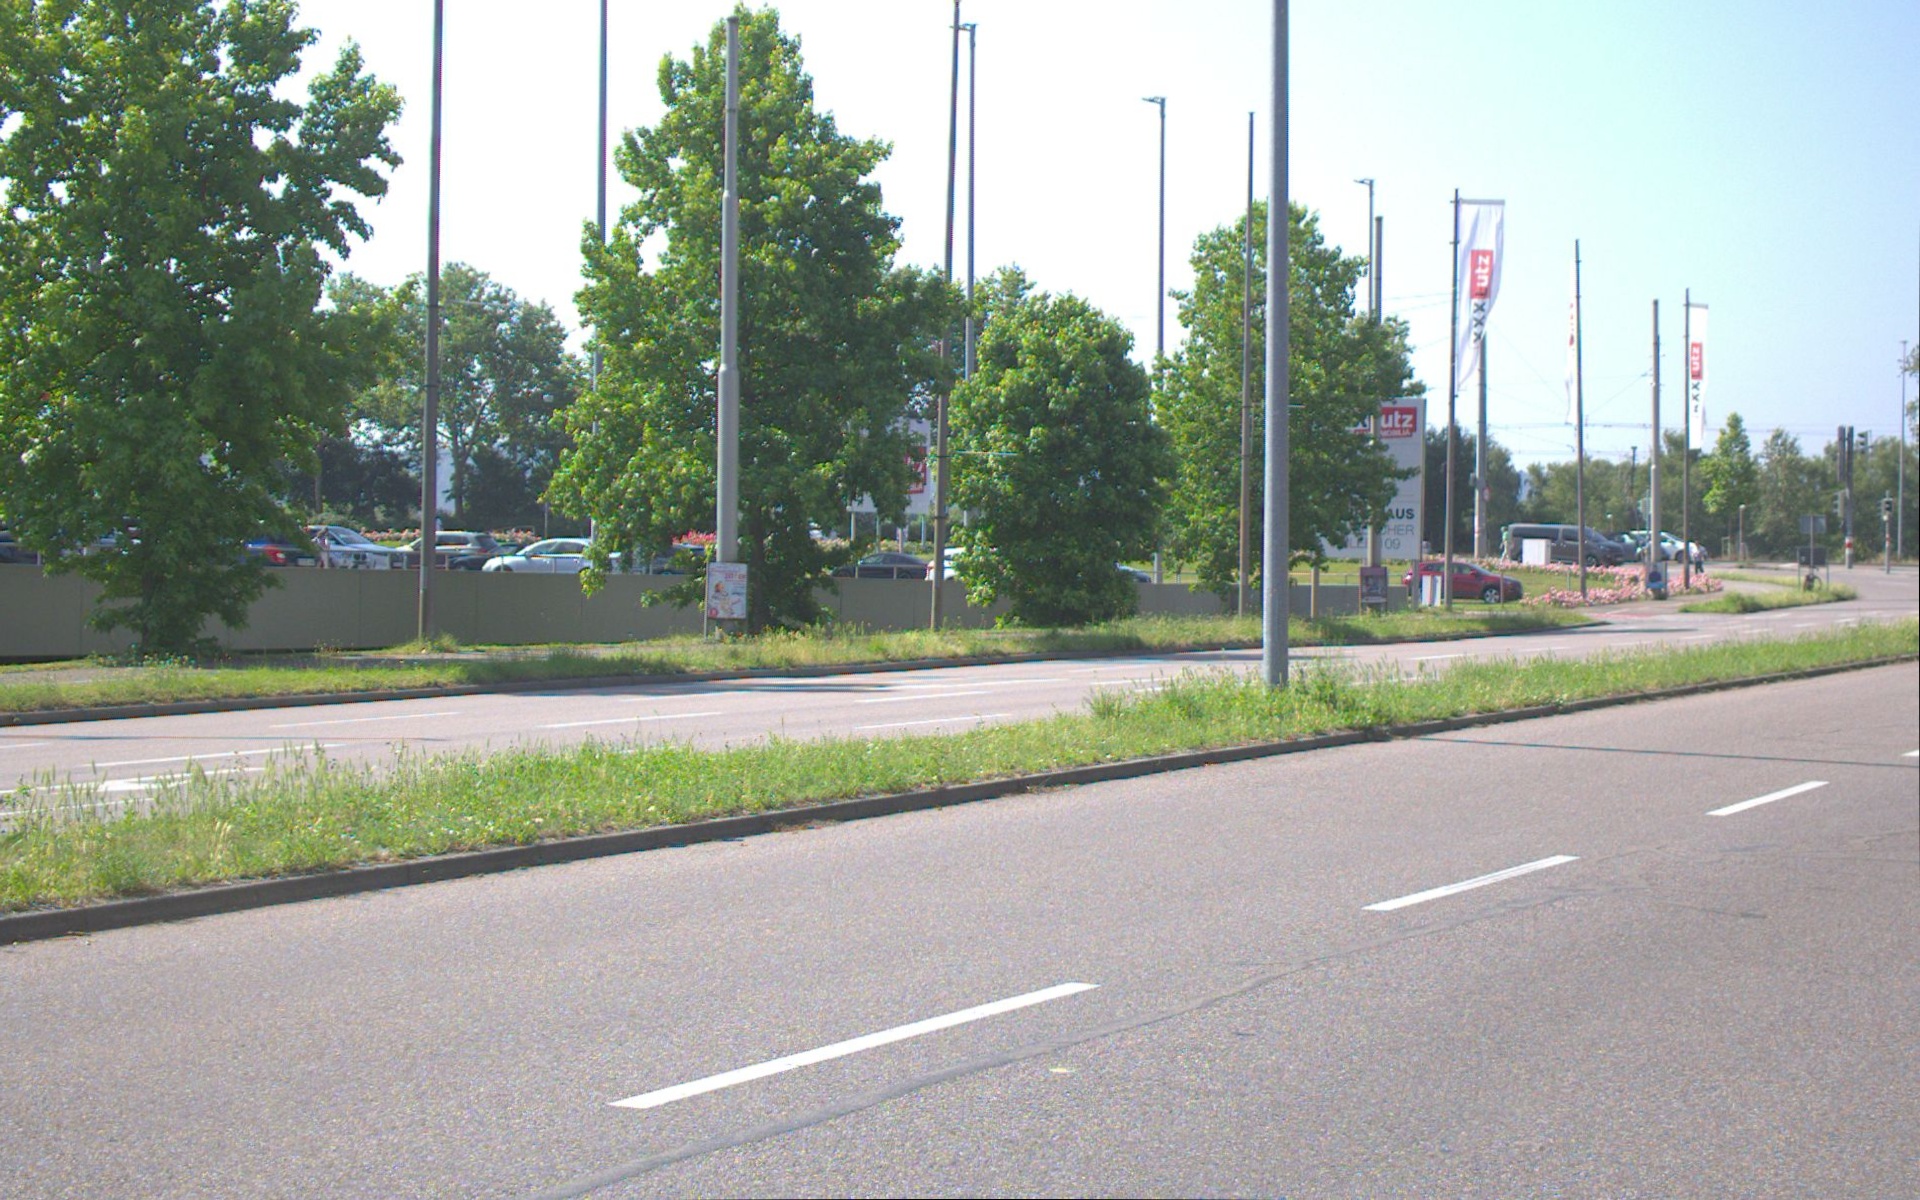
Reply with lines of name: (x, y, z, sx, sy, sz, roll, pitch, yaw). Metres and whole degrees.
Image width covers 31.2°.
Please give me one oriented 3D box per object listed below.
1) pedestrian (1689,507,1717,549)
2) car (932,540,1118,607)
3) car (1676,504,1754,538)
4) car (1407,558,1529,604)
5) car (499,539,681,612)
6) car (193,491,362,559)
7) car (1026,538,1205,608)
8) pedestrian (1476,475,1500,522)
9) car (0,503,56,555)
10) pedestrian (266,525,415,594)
pedestrian: (30.381, -2.941, 140.600, 0.841, 1.701, 0.904, 0, 1, 35)
car: (1.676, -0.678, 88.715, 4.417, 1.622, 1.869, 1, -1, 22)
car: (34.831, -3.635, 158.579, 3.346, 1.495, 1.408, 1, 0, 20)
car: (18.779, -0.712, 127.004, 4.187, 1.600, 1.825, 1, 0, 19)
car: (-10.413, -0.703, 96.887, 4.674, 2.007, 2.028, 0, 1, 20)
car: (-11.157, -1.226, 56.184, 2.516, 1.056, 1.070, 1, 0, 21)
car: (4.207, -0.731, 92.911, 4.418, 1.836, 1.943, 1, 0, 23)
pedestrian: (22.360, -4.299, 145.562, 0.717, 1.965, 0.916, 1, 0, 28)
car: (-25.005, -1.835, 88.421, 3.091, 1.289, 1.514, 1, 0, 23)
pedestrian: (-18.951, -1.226, 105.196, 3.987, 2.007, 2.000, 1, 0, -36)
